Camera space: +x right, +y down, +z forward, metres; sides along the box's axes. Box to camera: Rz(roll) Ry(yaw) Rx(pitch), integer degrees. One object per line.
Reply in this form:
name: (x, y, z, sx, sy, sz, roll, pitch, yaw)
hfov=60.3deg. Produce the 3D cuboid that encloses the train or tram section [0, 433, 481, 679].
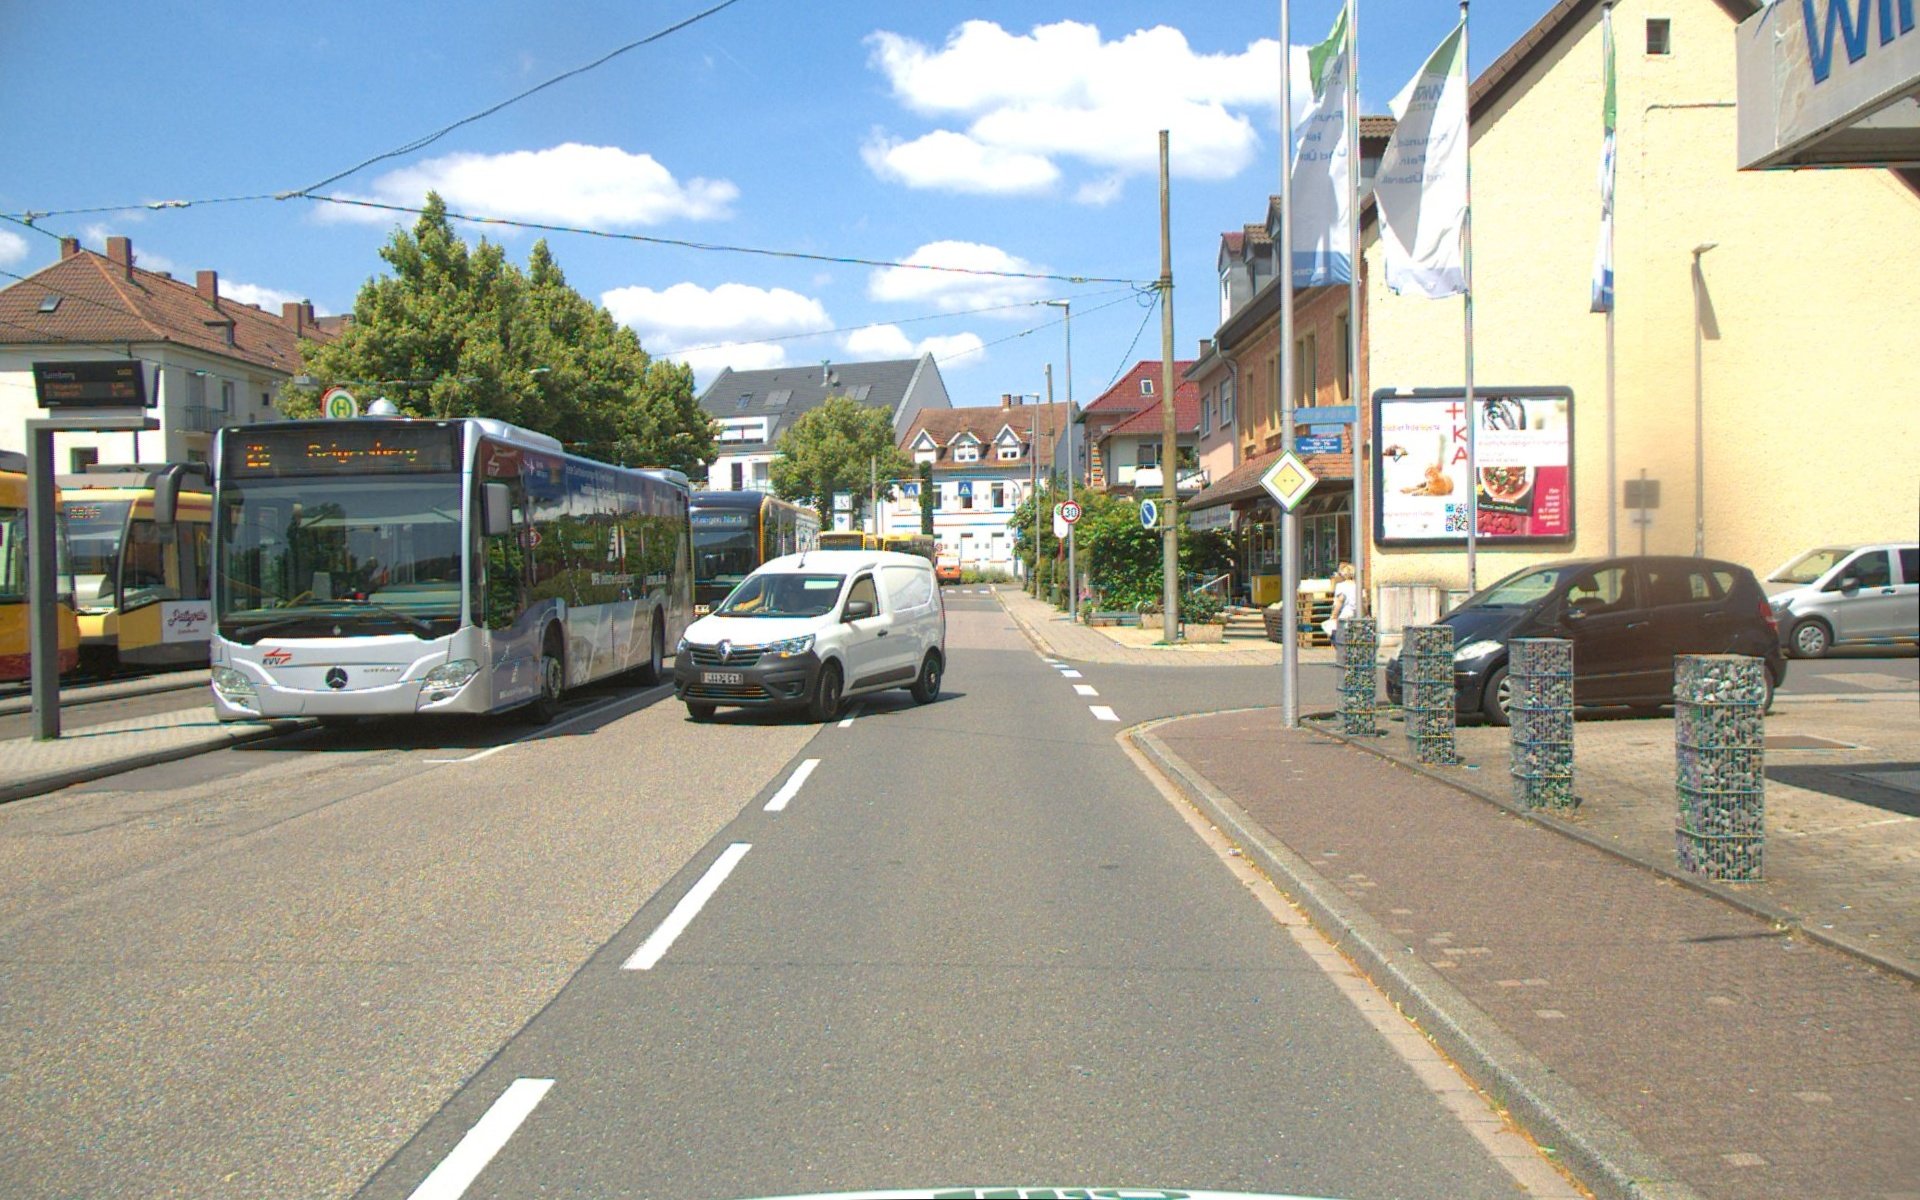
train or tram section: (-13.808, -0.801, 33.806, 2.902, 3.706, 17.353, 1, 1, 0)

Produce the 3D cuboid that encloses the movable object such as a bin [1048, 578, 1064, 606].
movable object such as a bin: (3.318, -0.283, 57.145, 0.398, 0.922, 0.729, -4, 0, -3)

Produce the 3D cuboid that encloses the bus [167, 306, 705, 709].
bus: (-5.516, -0.797, 20.532, 2.848, 3.487, 12.038, 1, 0, 0)

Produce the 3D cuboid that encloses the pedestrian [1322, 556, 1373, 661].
pedestrian: (6.345, 0.133, 27.065, 0.690, 1.669, 0.660, -1, 2, 20)

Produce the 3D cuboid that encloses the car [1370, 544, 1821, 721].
car: (6.248, 0.278, 16.430, 3.809, 1.570, 1.836, -1, 0, -13)

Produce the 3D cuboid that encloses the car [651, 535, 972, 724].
car: (-1.524, 0.298, 18.965, 1.669, 1.883, 4.712, 1, 0, 22)

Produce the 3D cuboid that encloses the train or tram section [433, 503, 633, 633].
train or tram section: (-13.722, -1.016, 54.804, 2.902, 3.706, 13.995, 1, 1, 0)

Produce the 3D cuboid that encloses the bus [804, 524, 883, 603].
bus: (-5.237, -1.633, 76.425, 2.848, 3.304, 12.118, 1, 1, 0)

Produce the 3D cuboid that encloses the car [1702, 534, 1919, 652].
car: (15.513, -0.144, 28.123, 4.953, 1.894, 1.907, -1, 0, -4)

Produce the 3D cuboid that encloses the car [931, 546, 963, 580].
car: (-0.822, -2.404, 108.195, 1.952, 2.049, 4.000, 1, 0, 1)

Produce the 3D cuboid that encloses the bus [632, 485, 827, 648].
bus: (-5.229, -0.682, 40.132, 2.838, 3.304, 12.197, 1, 0, 1)

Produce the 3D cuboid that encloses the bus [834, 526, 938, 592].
bus: (-3.831, -2.282, 89.838, 2.720, 3.264, 12.319, 1, 2, 11)

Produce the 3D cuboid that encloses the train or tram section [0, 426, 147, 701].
train or tram section: (-13.875, -0.454, 18.859, 2.902, 3.556, 12.658, 1, 1, 0)
